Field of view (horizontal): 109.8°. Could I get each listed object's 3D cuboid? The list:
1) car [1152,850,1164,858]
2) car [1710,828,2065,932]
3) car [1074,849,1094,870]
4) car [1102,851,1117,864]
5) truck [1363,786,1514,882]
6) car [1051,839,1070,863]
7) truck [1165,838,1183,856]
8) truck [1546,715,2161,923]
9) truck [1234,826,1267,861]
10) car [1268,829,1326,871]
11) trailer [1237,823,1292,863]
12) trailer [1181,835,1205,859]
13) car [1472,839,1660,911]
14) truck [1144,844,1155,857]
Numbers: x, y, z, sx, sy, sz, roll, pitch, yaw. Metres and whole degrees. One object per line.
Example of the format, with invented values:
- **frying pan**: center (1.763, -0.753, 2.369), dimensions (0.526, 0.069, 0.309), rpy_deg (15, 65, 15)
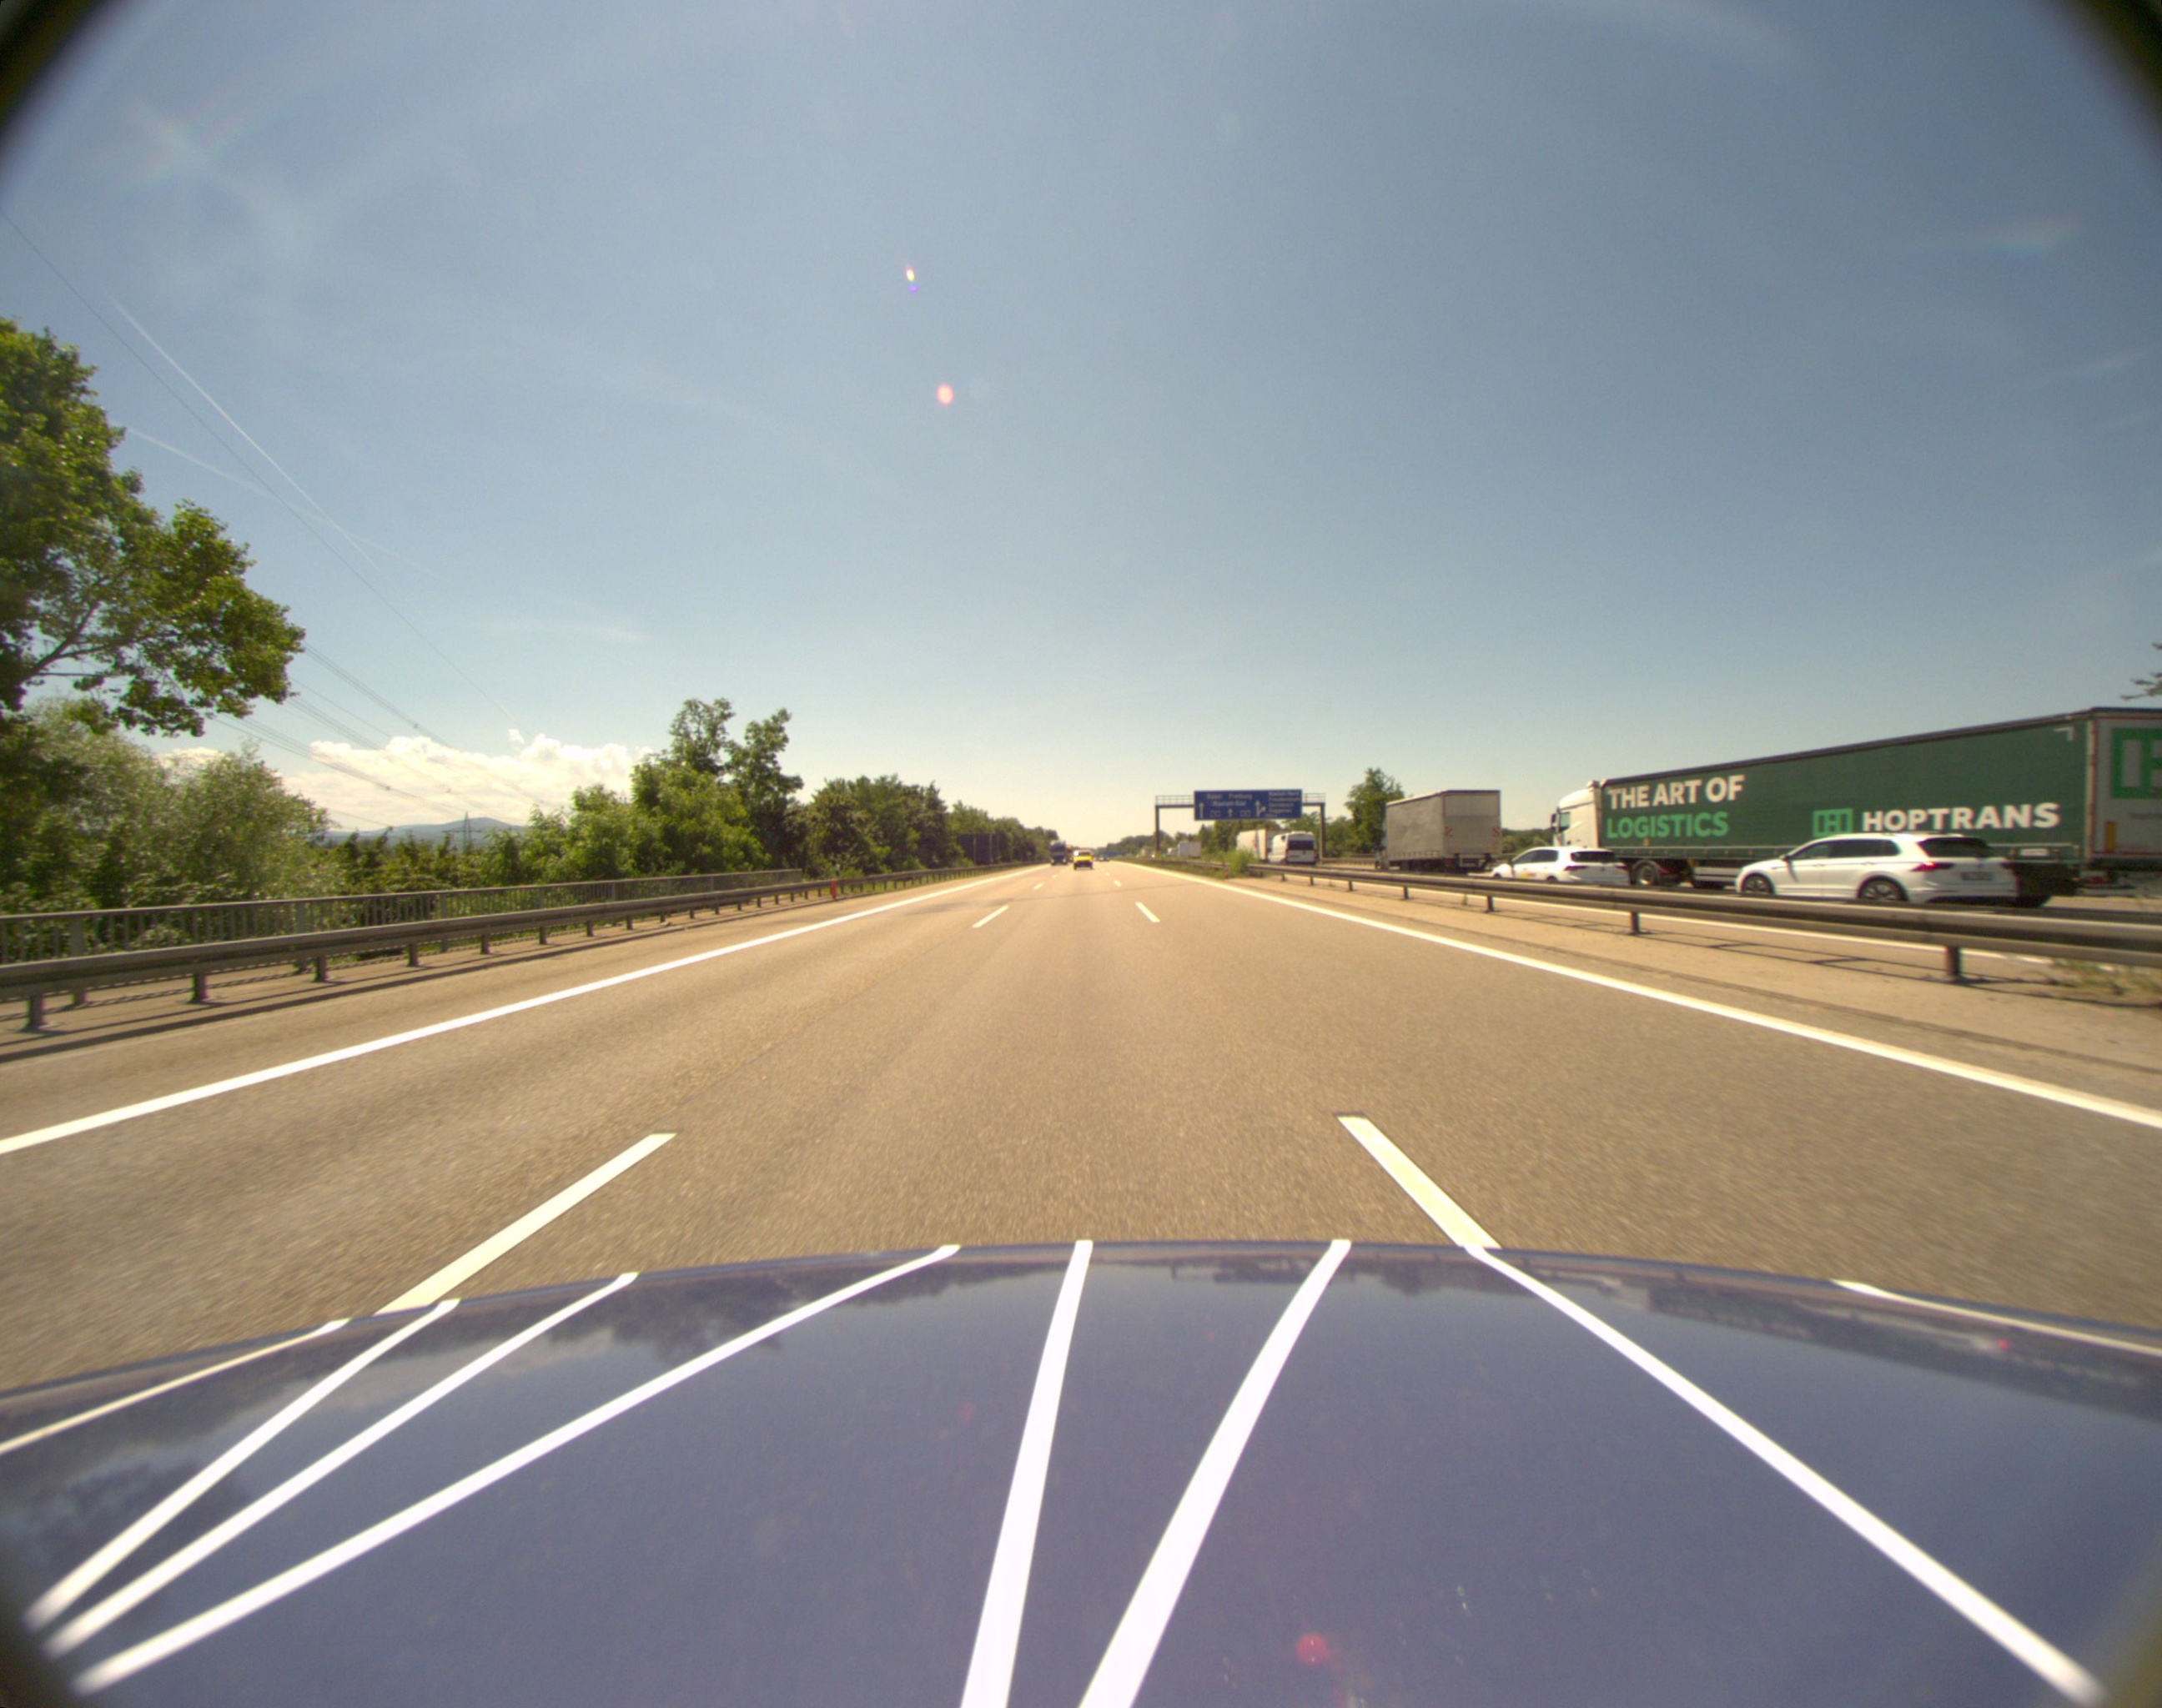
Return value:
- **car**: center (14.847, -0.008, 146.550), dimensions (1.998, 1.628, 4.000), rpy_deg (-1, 0, 1)
- **car**: center (16.403, 0.443, 16.016), dimensions (2.080, 1.820, 5.108), rpy_deg (0, 0, 1)
- **car**: center (0.314, 0.555, 76.250), dimensions (1.955, 2.002, 5.432), rpy_deg (-1, 0, 1)
- **car**: center (5.825, 0.642, 155.862), dimensions (2.686, 2.510, 5.967), rpy_deg (-1, 0, 1)
- **truck**: center (16.716, -0.940, 36.546), dimensions (2.863, 3.896, 9.493), rpy_deg (-3, 1, 1)
- **car**: center (-3.240, -0.444, 121.503), dimensions (2.686, 3.724, 6.270), rpy_deg (-1, 0, 1)
- **truck**: center (22.285, -1.578, 182.865), dimensions (3.243, 4.110, 8.606), rpy_deg (-3, 0, 0)
- **truck**: center (20.674, -0.740, 22.463), dimensions (3.252, 3.780, 17.010), rpy_deg (-3, 0, 0)
- **truck**: center (21.311, -1.259, 95.859), dimensions (2.750, 4.182, 5.295), rpy_deg (-3, 1, 0)
- **car**: center (14.396, -0.272, 51.041), dimensions (2.174, 2.569, 6.038), rpy_deg (-1, 0, 1)
- **trailer**: center (21.342, -1.223, 89.440), dimensions (2.750, 4.182, 13.946), rpy_deg (-3, 0, 0)
- **trailer**: center (22.173, -1.382, 151.340), dimensions (2.750, 4.282, 13.947), rpy_deg (-3, 0, 0)
- **car**: center (13.339, 0.506, 21.387), dimensions (2.080, 1.781, 5.108), rpy_deg (0, 0, 1)
- **truck**: center (23.977, -1.324, 265.388), dimensions (2.937, 4.328, 8.240), rpy_deg (-3, 0, 1)
